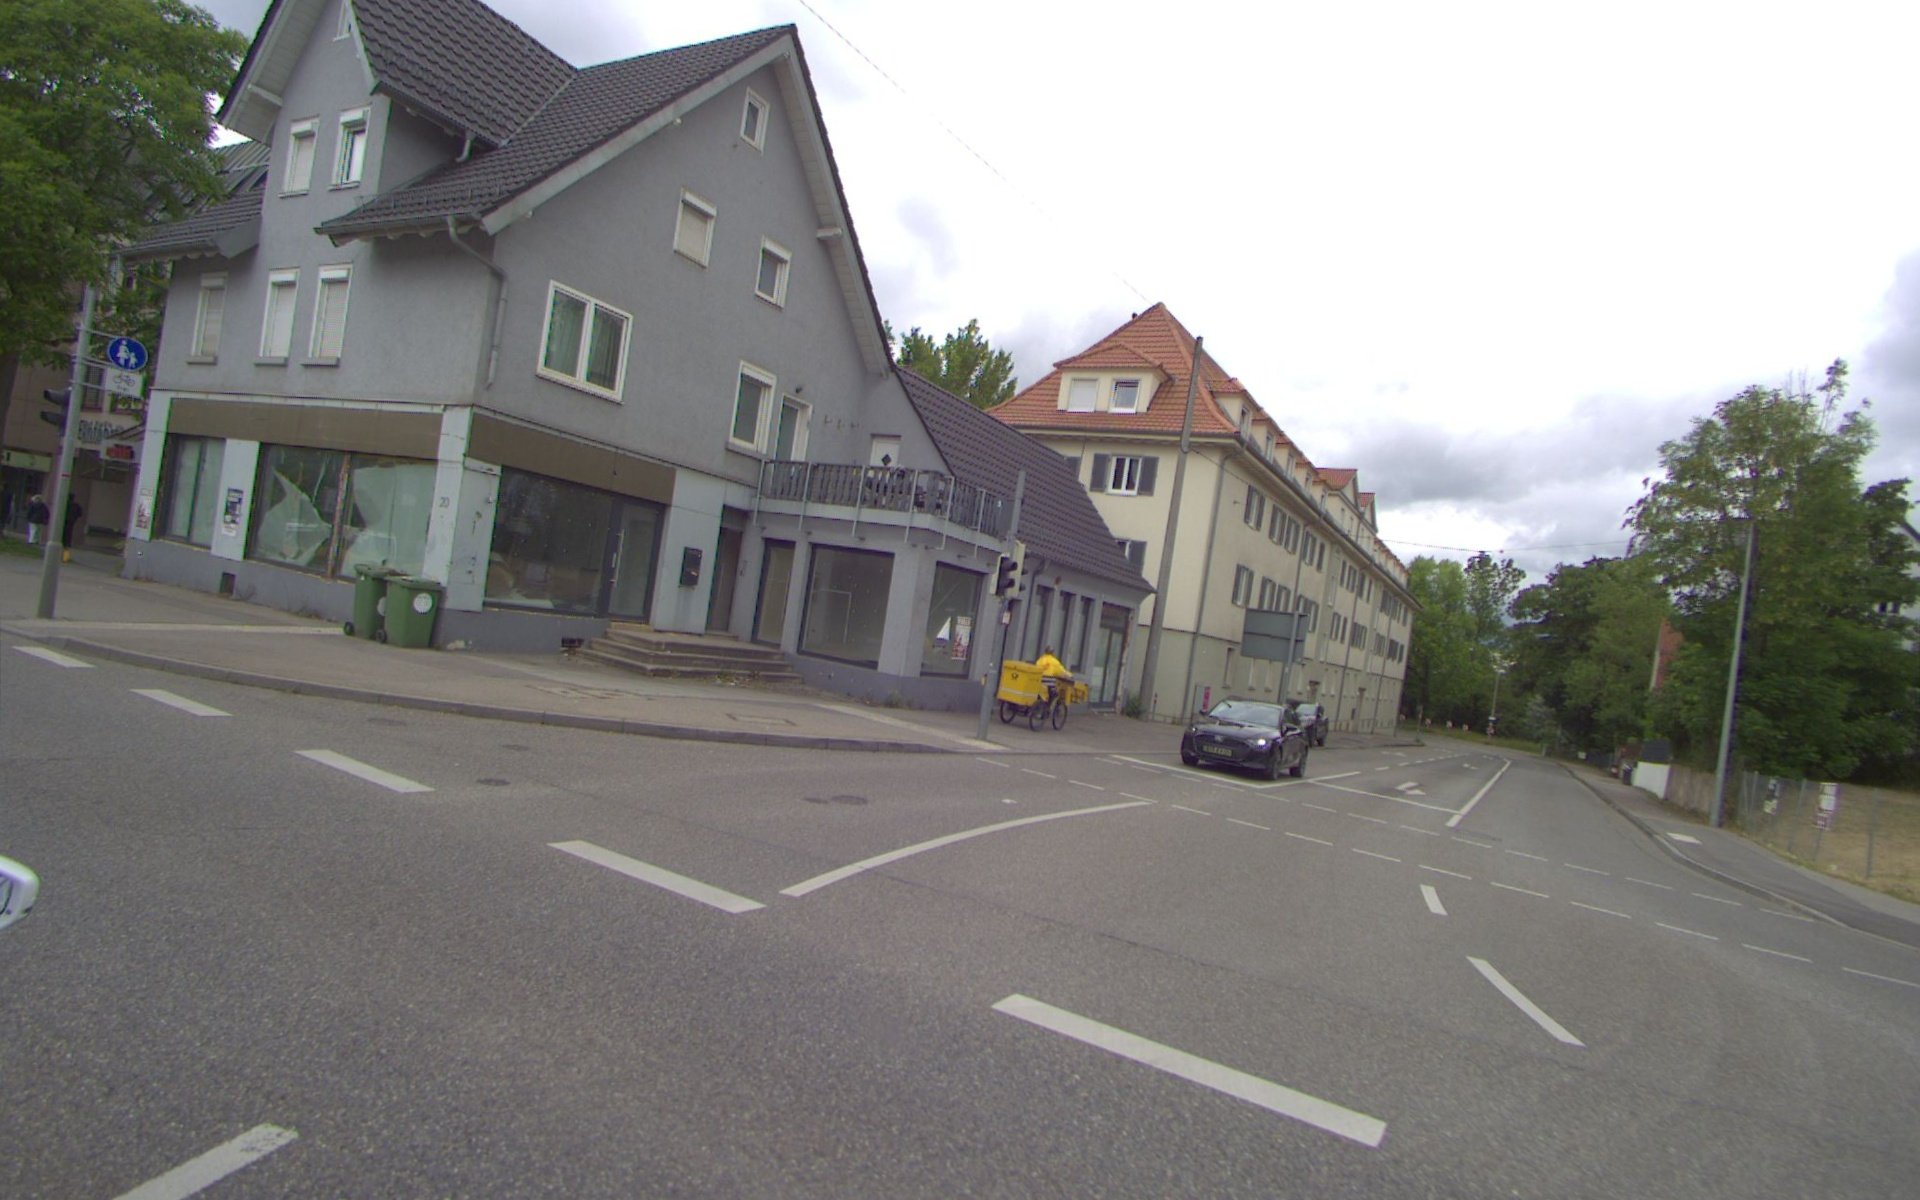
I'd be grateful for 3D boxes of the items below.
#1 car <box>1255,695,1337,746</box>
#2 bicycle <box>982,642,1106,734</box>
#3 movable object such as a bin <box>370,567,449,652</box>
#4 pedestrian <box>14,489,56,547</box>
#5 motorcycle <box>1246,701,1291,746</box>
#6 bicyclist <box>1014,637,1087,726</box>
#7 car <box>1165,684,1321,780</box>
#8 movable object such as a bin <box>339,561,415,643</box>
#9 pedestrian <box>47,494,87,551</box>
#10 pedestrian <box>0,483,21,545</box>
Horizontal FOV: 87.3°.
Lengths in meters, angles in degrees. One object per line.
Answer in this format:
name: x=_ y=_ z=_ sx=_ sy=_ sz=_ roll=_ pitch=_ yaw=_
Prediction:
car: x=12.621 y=4.535 z=37.649 sx=1.966 sy=1.480 sz=4.089 roll=8 pitch=-3 yaw=31
bicycle: x=1.746 y=1.815 z=20.393 sx=0.948 sy=1.525 sz=2.678 roll=12 pitch=0 yaw=39
movable object such as a bin: x=-8.048 y=0.144 z=14.710 sx=0.698 sy=1.117 sz=0.627 roll=7 pitch=-1 yaw=30
pedestrian: x=-29.169 y=-2.582 z=31.716 sx=0.829 sy=1.712 sz=0.658 roll=7 pitch=1 yaw=31
motorcycle: x=10.118 y=4.064 z=32.965 sx=0.674 sy=1.331 sz=2.311 roll=9 pitch=-1 yaw=32
bicyclist: x=1.833 y=1.659 z=20.414 sx=0.947 sy=1.617 sz=0.937 roll=8 pitch=-1 yaw=31
car: x=5.745 y=2.612 z=20.020 sx=1.876 sy=1.437 sz=4.355 roll=6 pitch=-3 yaw=30
movable object such as a bin: x=-8.733 y=0.032 z=15.069 sx=0.698 sy=1.117 sz=0.610 roll=7 pitch=-1 yaw=30
pedestrian: x=-28.723 y=-2.483 z=32.357 sx=0.829 sy=1.712 sz=0.658 roll=7 pitch=1 yaw=31
pedestrian: x=-29.667 y=-2.689 z=31.066 sx=0.829 sy=1.849 sz=0.658 roll=7 pitch=1 yaw=31
